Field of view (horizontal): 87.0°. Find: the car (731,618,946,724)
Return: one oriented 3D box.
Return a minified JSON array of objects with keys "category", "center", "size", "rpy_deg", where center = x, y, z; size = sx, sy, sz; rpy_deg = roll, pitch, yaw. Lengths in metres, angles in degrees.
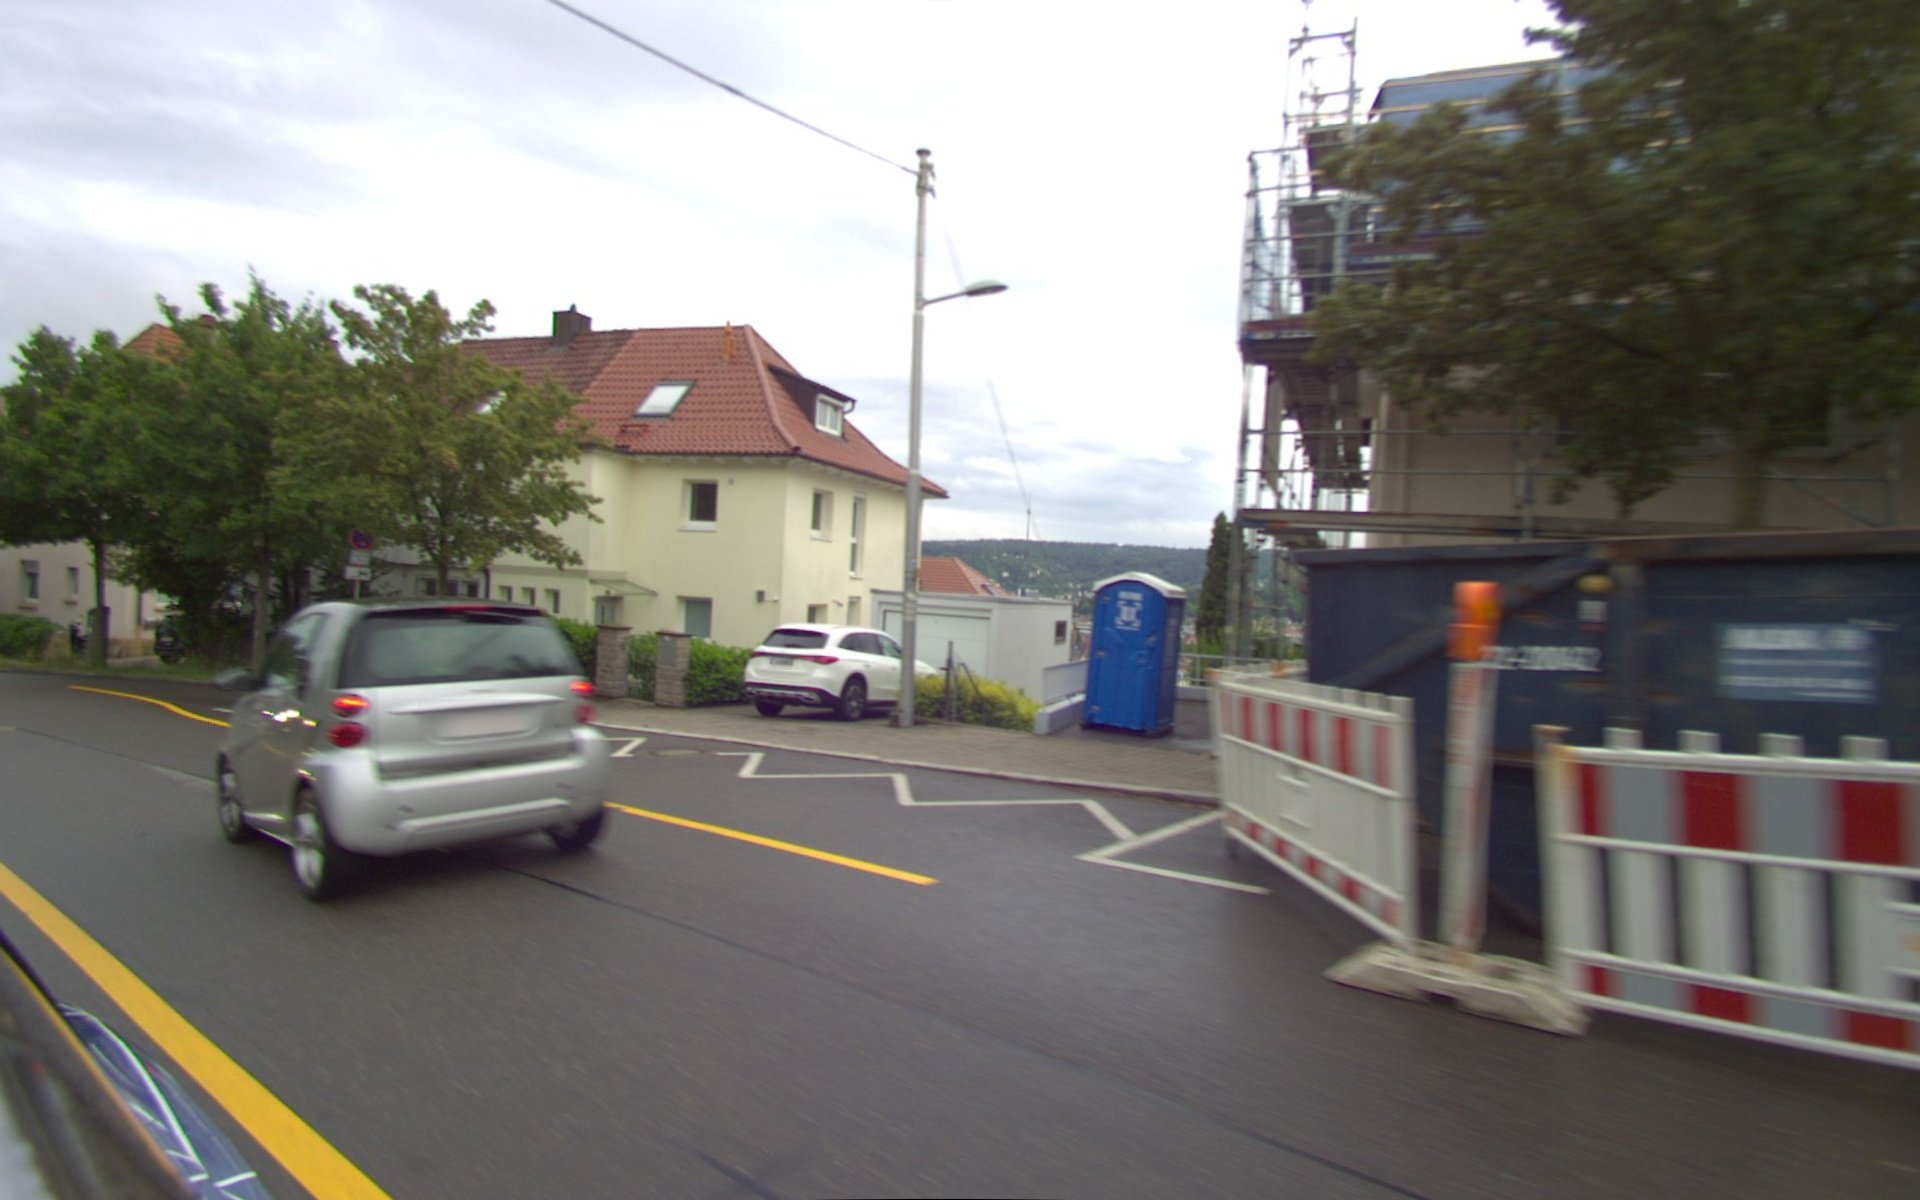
[{"category":"car","center":[-2.040,1.262,18.289],"size":[1.939,1.616,4.175],"rpy_deg":[1,-3,25]}]

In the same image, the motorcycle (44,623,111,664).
[{"category":"motorcycle","center":[-28.426,1.381,32.592],"size":[1.954,1.258,0.729],"rpy_deg":[-1,1,19]}]

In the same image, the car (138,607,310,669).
[{"category":"car","center":[-22.785,1.106,31.497],"size":[1.852,1.554,3.923],"rpy_deg":[0,3,23]}]

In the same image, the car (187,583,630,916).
[{"category":"car","center":[-3.458,0.694,6.180],"size":[2.921,1.537,1.441],"rpy_deg":[-1,0,41]}]

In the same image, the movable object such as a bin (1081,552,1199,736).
[{"category":"movable object such as a bin","center":[2.648,0.624,14.810],"size":[1.379,2.525,1.305],"rpy_deg":[-1,-1,27]}]
